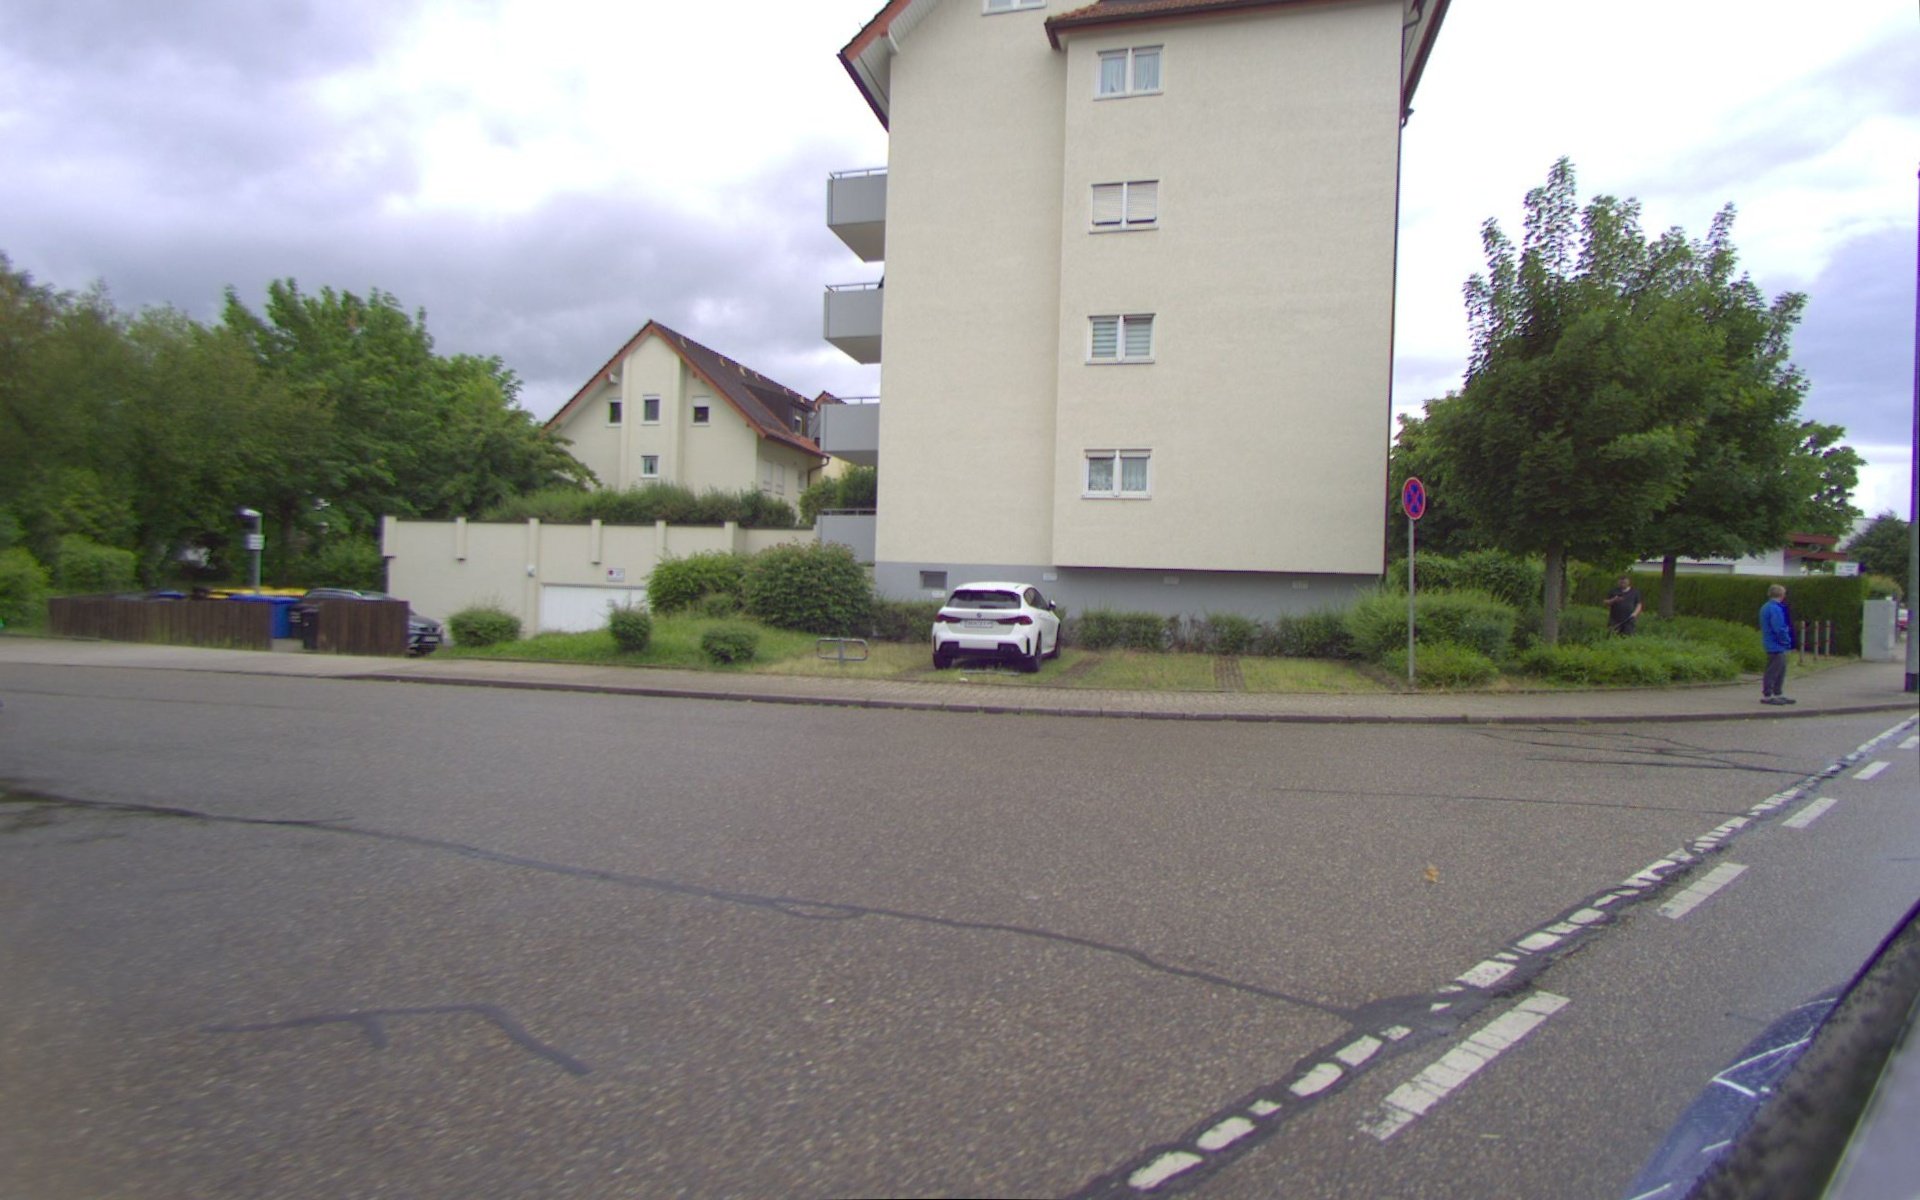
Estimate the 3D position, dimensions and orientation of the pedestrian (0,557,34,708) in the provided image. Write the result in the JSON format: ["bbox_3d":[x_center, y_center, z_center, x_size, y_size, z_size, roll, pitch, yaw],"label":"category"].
[{"bbox_3d":[-10.655,0.339,10.764,0.931,1.603,0.739,0,0,-8],"label":"pedestrian"}]

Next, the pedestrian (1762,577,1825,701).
[{"bbox_3d":[11.741,0.522,14.280,0.587,1.687,0.766,0,0,33],"label":"pedestrian"}]

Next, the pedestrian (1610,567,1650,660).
[{"bbox_3d":[13.117,0.253,19.822,0.610,1.795,0.663,1,0,31],"label":"pedestrian"}]

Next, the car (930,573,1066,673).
[{"bbox_3d":[0.770,0.316,17.726,1.720,1.499,3.756,2,1,12],"label":"car"}]

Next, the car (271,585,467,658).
[{"bbox_3d":[-16.583,0.550,28.430,4.862,1.846,1.992,2,1,17],"label":"car"}]
